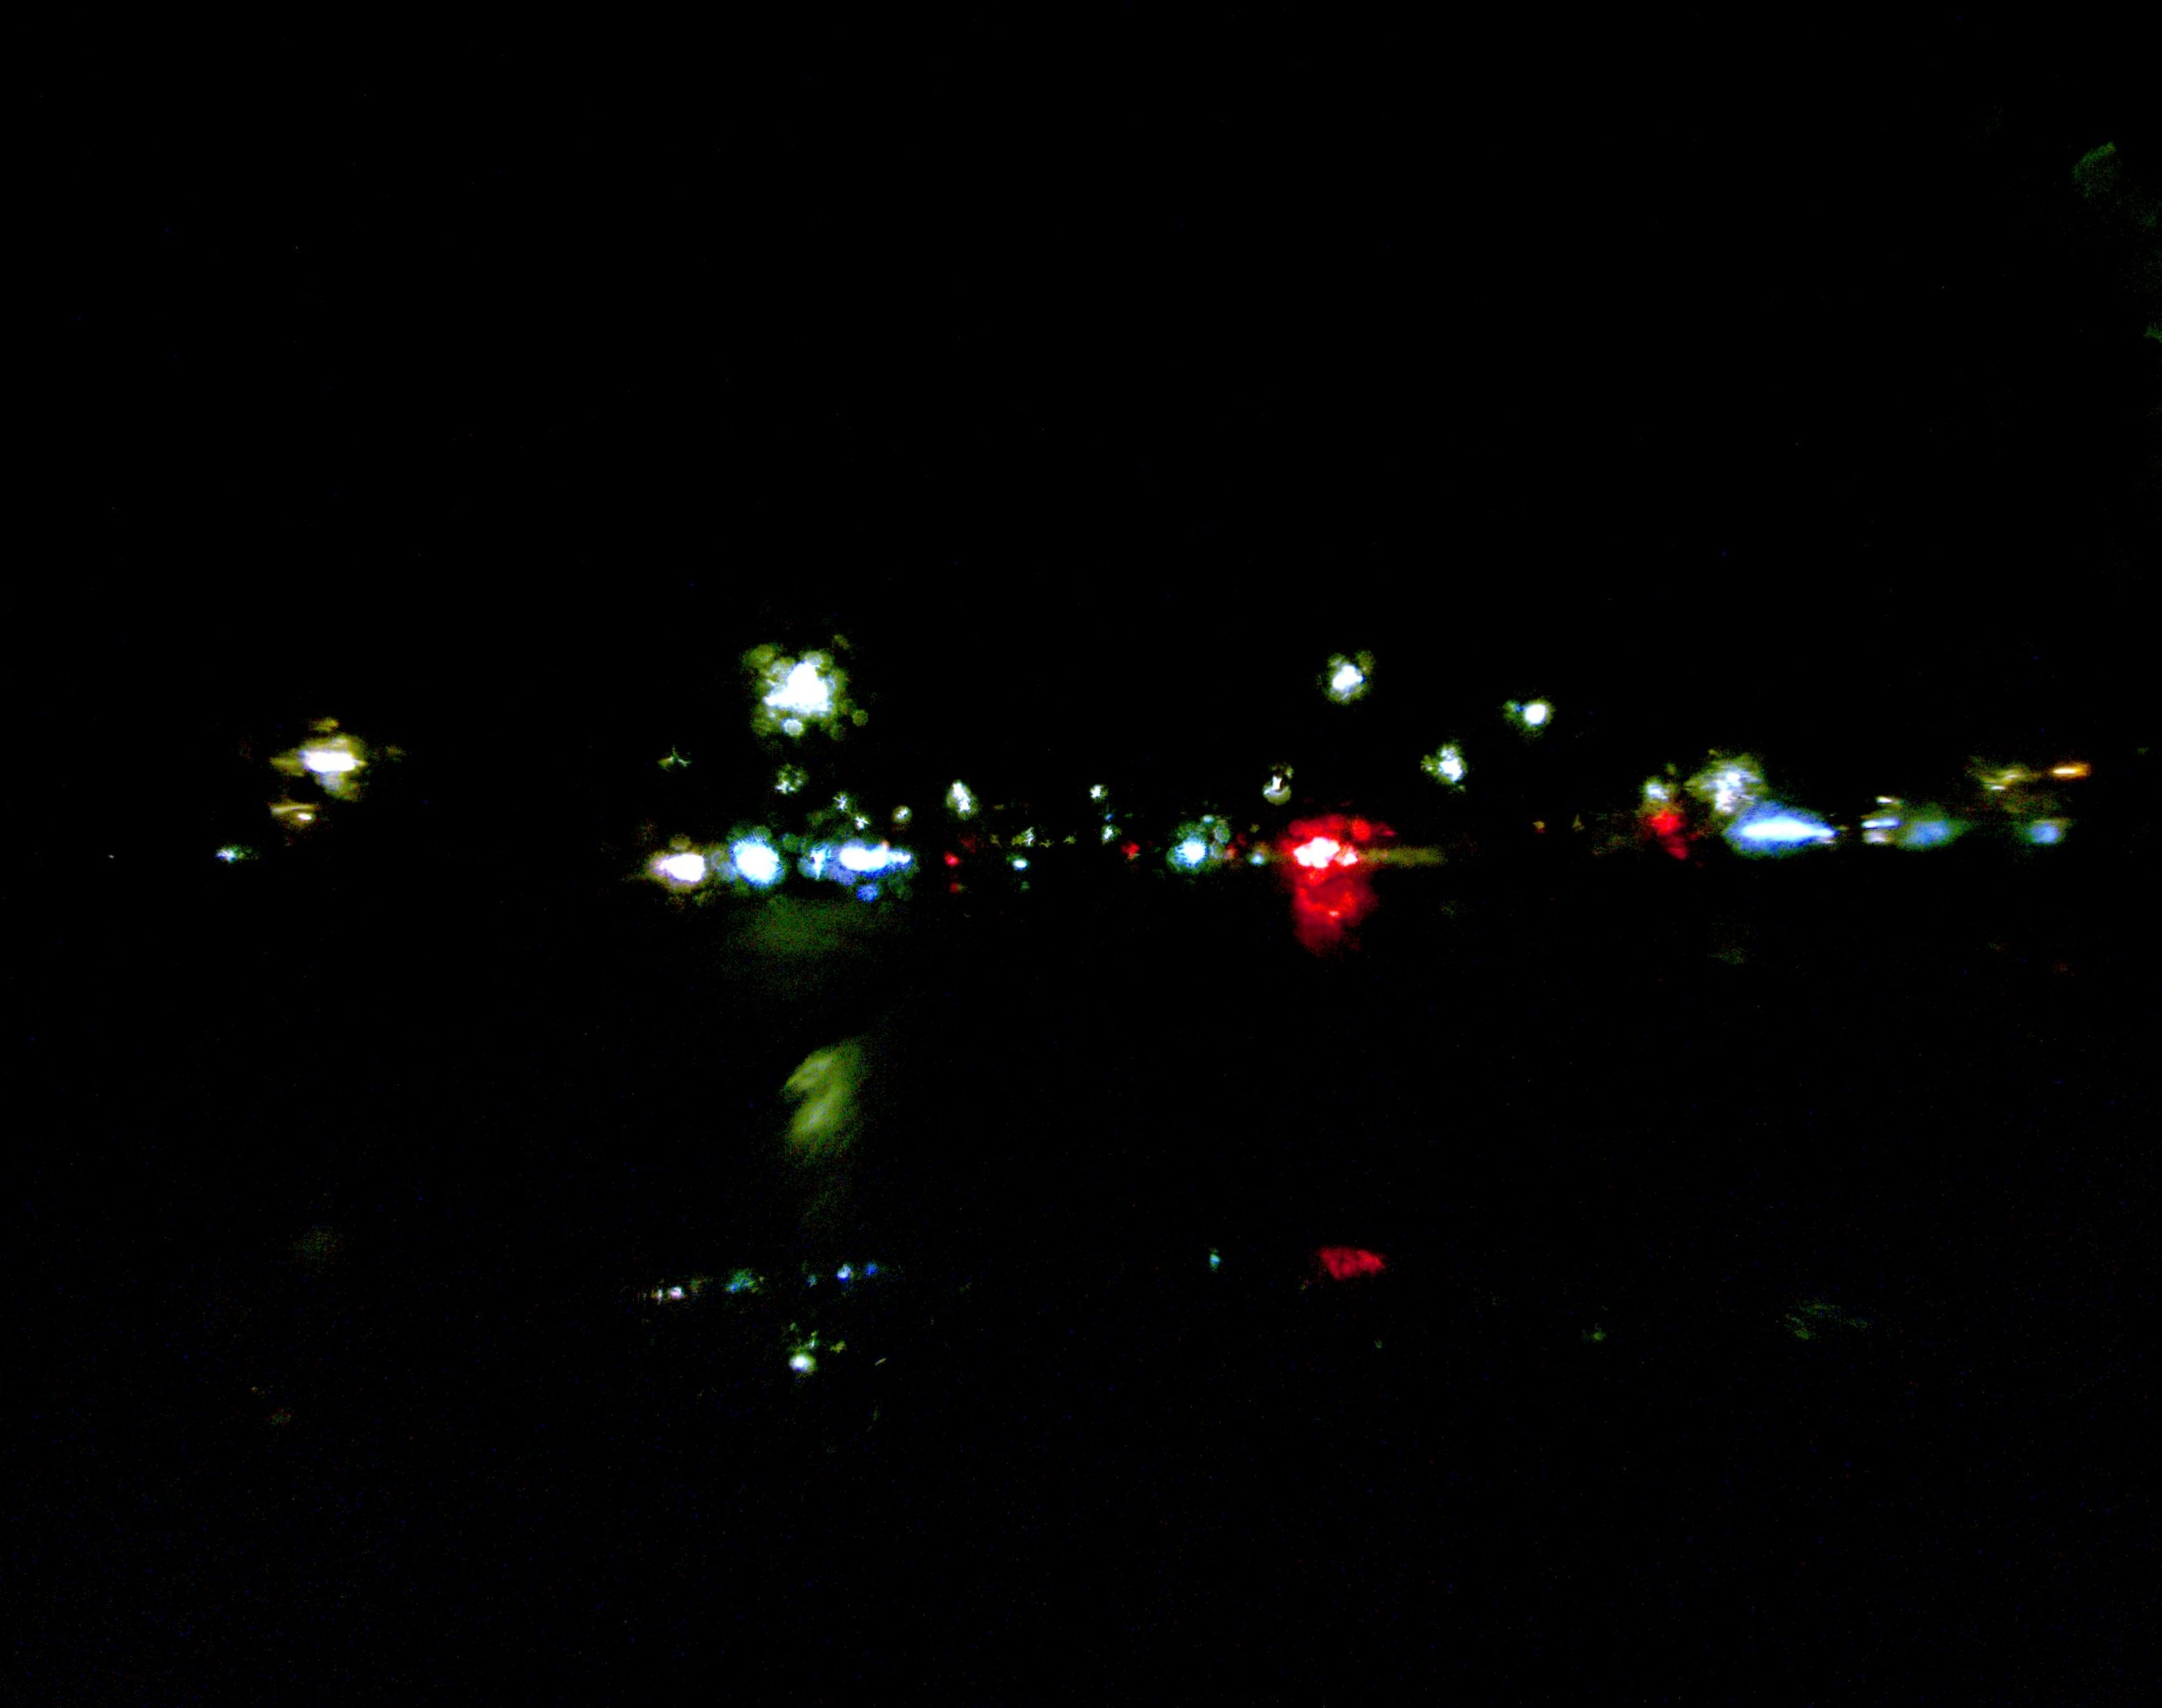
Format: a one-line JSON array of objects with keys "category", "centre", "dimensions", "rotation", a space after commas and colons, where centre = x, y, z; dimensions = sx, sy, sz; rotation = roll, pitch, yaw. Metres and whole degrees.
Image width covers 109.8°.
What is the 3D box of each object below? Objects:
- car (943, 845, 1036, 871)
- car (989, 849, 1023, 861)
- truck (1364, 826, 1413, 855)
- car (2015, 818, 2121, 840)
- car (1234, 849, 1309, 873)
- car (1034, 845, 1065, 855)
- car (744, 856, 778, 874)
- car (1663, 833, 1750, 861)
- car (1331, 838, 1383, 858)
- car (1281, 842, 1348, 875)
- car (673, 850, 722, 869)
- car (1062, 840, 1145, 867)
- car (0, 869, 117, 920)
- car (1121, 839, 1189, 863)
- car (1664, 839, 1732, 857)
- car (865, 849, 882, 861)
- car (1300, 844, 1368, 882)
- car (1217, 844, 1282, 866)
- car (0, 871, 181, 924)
[{"category": "car", "centre": [-5.468, 0.250, 45.539], "dimensions": [5.090, 1.457, 2.002], "rotation": [-1, 1, 12]}, {"category": "car", "centre": [-9.900, 0.088, 100.780], "dimensions": [4.188, 1.457, 1.997], "rotation": [-1, 1, -15]}, {"category": "truck", "centre": [26.674, -1.190, 65.618], "dimensions": [2.316, 2.383, 7.828], "rotation": [1, 1, 34]}, {"category": "car", "centre": [74.431, -1.880, 57.388], "dimensions": [4.420, 1.612, 2.003], "rotation": [0, 1, 25]}, {"category": "car", "centre": [12.596, 0.453, 50.200], "dimensions": [4.643, 1.457, 1.645], "rotation": [-1, 1, -18]}, {"category": "car", "centre": [-4.658, -0.606, 113.226], "dimensions": [4.176, 1.457, 2.003], "rotation": [-1, 1, 19]}, {"category": "car", "centre": [-31.479, 1.083, 74.806], "dimensions": [2.000, 1.662, 4.182], "rotation": [-1, 1, -8]}, {"category": "car", "centre": [41.505, -0.447, 50.487], "dimensions": [3.994, 1.765, 2.001], "rotation": [-1, 1, 10]}, {"category": "car", "centre": [21.706, -0.498, 59.745], "dimensions": [4.194, 1.524, 1.994], "rotation": [-1, 1, -40]}, {"category": "car", "centre": [12.132, 0.189, 39.289], "dimensions": [2.063, 1.612, 4.642], "rotation": [1, 1, 34]}, {"category": "car", "centre": [-32.744, 0.464, 65.025], "dimensions": [1.767, 1.444, 4.001], "rotation": [-1, 1, 7]}, {"category": "car", "centre": [1.486, -0.040, 48.606], "dimensions": [5.192, 1.573, 2.000], "rotation": [-1, 1, 4]}, {"category": "car", "centre": [-35.348, 1.342, 25.296], "dimensions": [1.489, 1.558, 3.880], "rotation": [-1, 1, -1]}, {"category": "car", "centre": [5.071, -0.249, 52.722], "dimensions": [4.430, 1.612, 1.999], "rotation": [0, 1, -5]}, {"category": "car", "centre": [55.830, -0.553, 68.888], "dimensions": [4.417, 1.524, 2.003], "rotation": [0, 1, 25]}, {"category": "car", "centre": [-29.862, 0.113, 109.384], "dimensions": [2.000, 1.744, 3.995], "rotation": [0, 1, -10]}, {"category": "car", "centre": [10.998, 0.326, 33.296], "dimensions": [1.997, 1.447, 4.305], "rotation": [3, 1, 8]}, {"category": "car", "centre": [12.128, 0.060, 54.859], "dimensions": [4.190, 1.524, 1.996], "rotation": [-1, 1, -22]}, {"category": "car", "centre": [-32.604, 1.366, 24.887], "dimensions": [1.486, 1.439, 4.020], "rotation": [-1, 1, -1]}]
